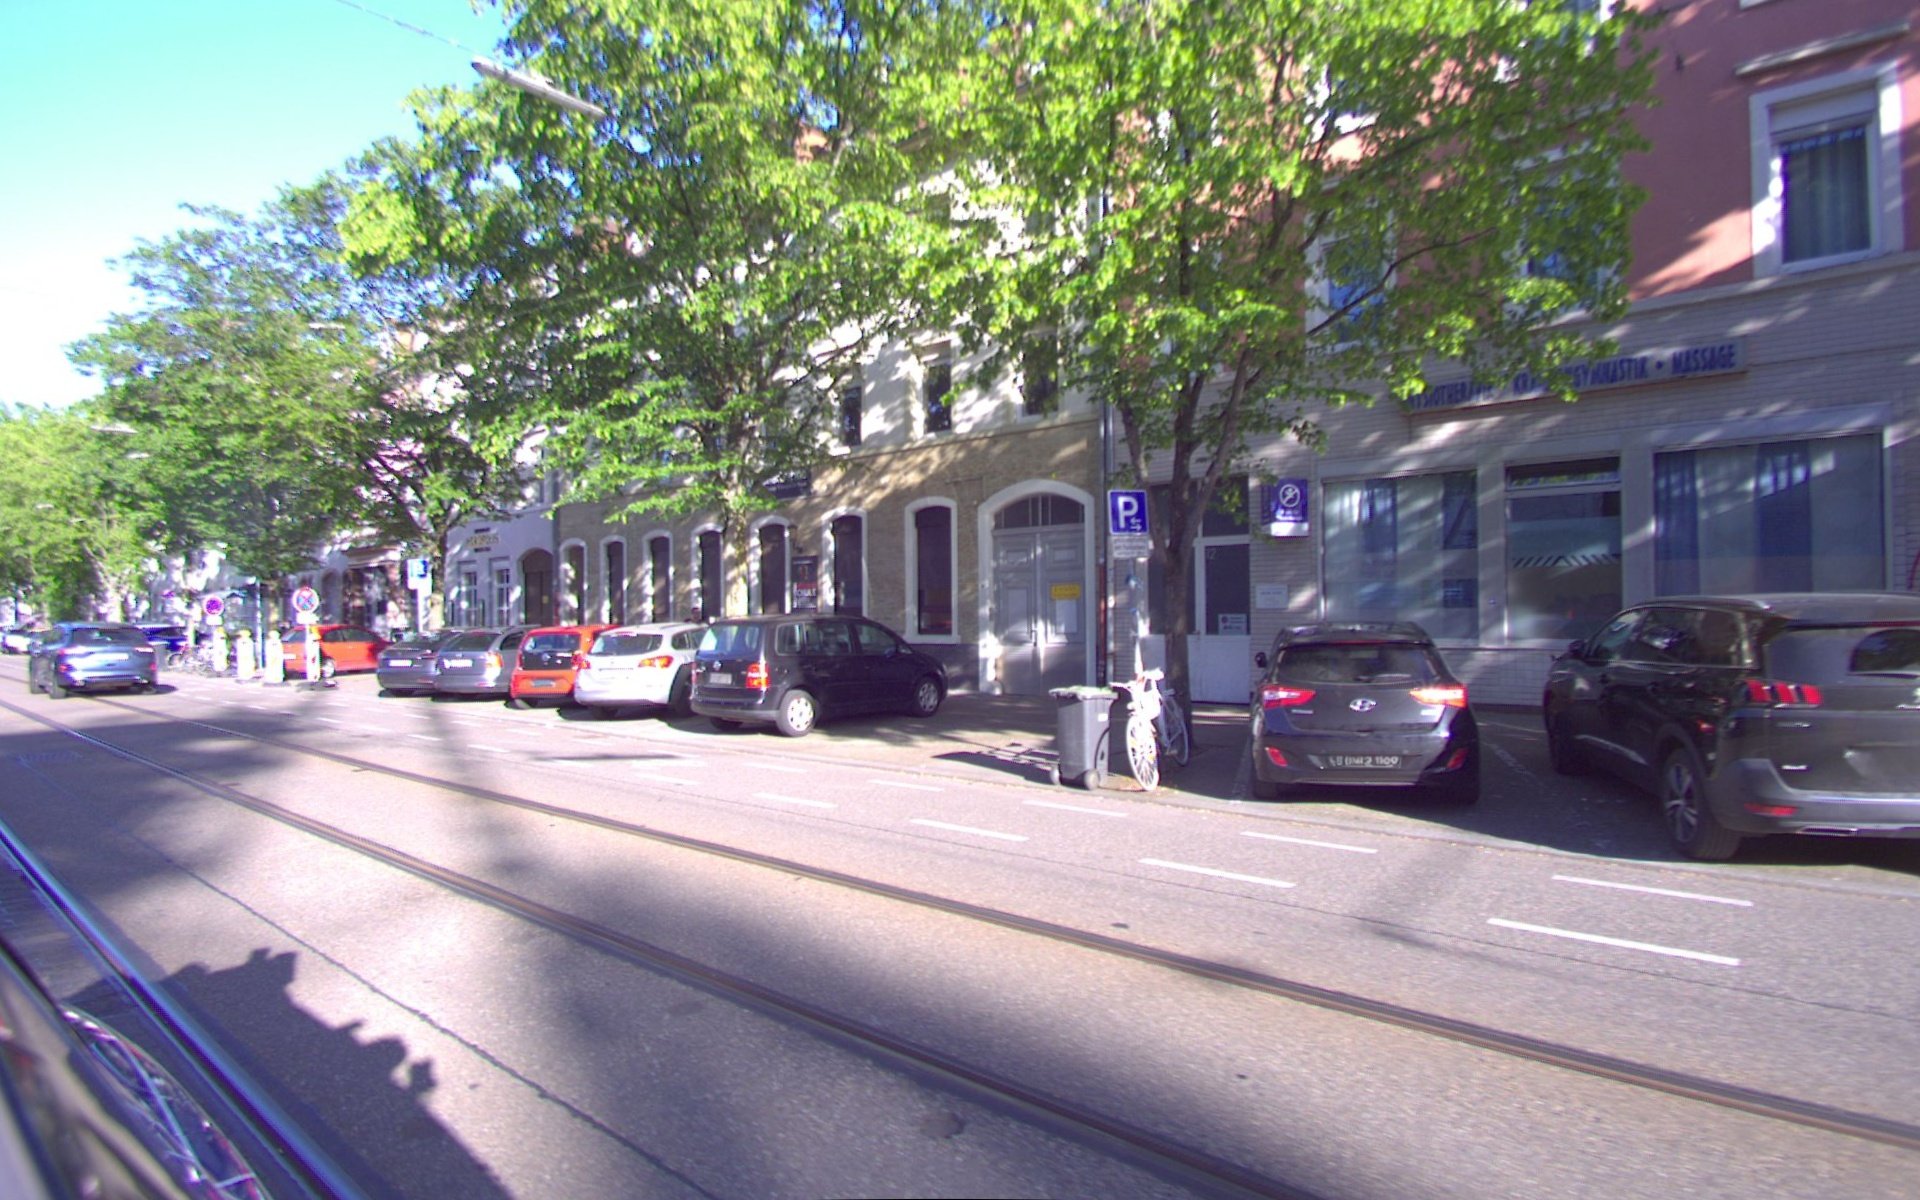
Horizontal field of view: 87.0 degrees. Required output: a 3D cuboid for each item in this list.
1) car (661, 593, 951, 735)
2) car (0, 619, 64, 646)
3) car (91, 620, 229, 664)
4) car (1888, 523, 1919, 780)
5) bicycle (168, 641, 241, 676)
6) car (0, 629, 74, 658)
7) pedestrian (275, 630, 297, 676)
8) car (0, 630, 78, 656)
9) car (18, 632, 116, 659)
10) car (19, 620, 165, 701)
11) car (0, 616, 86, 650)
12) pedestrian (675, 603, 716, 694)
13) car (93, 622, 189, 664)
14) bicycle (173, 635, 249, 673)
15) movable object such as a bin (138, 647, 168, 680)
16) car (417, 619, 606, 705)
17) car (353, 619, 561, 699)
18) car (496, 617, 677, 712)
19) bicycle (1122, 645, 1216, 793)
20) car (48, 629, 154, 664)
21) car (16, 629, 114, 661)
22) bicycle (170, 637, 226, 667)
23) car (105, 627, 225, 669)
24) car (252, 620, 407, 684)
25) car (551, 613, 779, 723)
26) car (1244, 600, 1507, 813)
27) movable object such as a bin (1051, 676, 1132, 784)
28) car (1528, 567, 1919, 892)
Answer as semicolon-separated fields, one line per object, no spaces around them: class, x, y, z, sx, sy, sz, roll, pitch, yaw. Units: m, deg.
car;-2.147;0.822;15.063;1.839;1.690;4.064;-2;1;39
car;-72.479;2.477;77.947;2.072;2.029;4.878;-2;-2;37
car;-35.605;1.826;45.261;2.180;1.808;4.936;-1;-1;3
car;7.805;0.413;5.888;1.934;2.001;4.340;-1;0;19
bicycle;-26.512;2.038;35.540;0.568;1.087;1.946;-2;1;43
car;-59.081;2.733;63.620;2.161;1.737;4.781;-2;-2;39
pedestrian;-27.818;2.182;41.775;0.624;1.852;0.636;-2;-2;43
car;-56.823;2.639;62.462;1.378;1.565;3.342;-1;-2;28
car;-54.041;2.725;61.316;1.693;1.564;4.136;-1;-2;25
car;-19.658;1.286;22.876;4.247;1.642;1.907;-1;-1;41
car;-61.177;2.175;67.272;2.161;2.134;4.393;-2;-1;39
pedestrian;-6.046;1.102;23.137;0.556;2.029;0.723;-2;-2;42
car;-38.191;1.977;47.307;1.709;1.857;3.446;-1;-2;-1
bicycle;-25.583;1.825;34.594;0.567;1.095;1.981;-2;2;43
movable object such as a bin;-28.852;2.266;36.187;0.710;1.086;0.676;-2;1;43
car;-9.115;1.219;20.915;1.735;1.481;3.670;-1;0;12
car;-11.117;1.254;22.727;1.925;1.502;4.184;-2;0;14
car;-6.950;1.150;19.171;1.597;1.504;3.360;-2;0;13
bicycle;2.042;1.071;9.698;0.489;1.153;1.957;-1;0;23
car;-43.416;2.323;51.252;1.873;1.541;3.622;-1;1;21
car;-52.008;2.612;58.899;1.690;1.689;3.972;-2;-1;21
bicycle;-27.709;1.882;36.826;0.387;0.995;1.588;-2;0;30
car;-32.601;1.947;41.637;1.555;1.621;3.892;-1;-2;8
car;-18.121;1.458;29.261;1.653;1.565;3.608;-3;0;15
car;-4.787;1.055;17.080;1.824;1.524;4.098;-2;0;15
car;3.751;0.799;9.554;1.829;1.487;3.845;-1;1;19
movable object such as a bin;1.240;1.203;9.484;0.572;0.920;0.572;-3;0;25
car;5.740;0.633;7.371;1.794;1.697;4.228;-1;2;15
